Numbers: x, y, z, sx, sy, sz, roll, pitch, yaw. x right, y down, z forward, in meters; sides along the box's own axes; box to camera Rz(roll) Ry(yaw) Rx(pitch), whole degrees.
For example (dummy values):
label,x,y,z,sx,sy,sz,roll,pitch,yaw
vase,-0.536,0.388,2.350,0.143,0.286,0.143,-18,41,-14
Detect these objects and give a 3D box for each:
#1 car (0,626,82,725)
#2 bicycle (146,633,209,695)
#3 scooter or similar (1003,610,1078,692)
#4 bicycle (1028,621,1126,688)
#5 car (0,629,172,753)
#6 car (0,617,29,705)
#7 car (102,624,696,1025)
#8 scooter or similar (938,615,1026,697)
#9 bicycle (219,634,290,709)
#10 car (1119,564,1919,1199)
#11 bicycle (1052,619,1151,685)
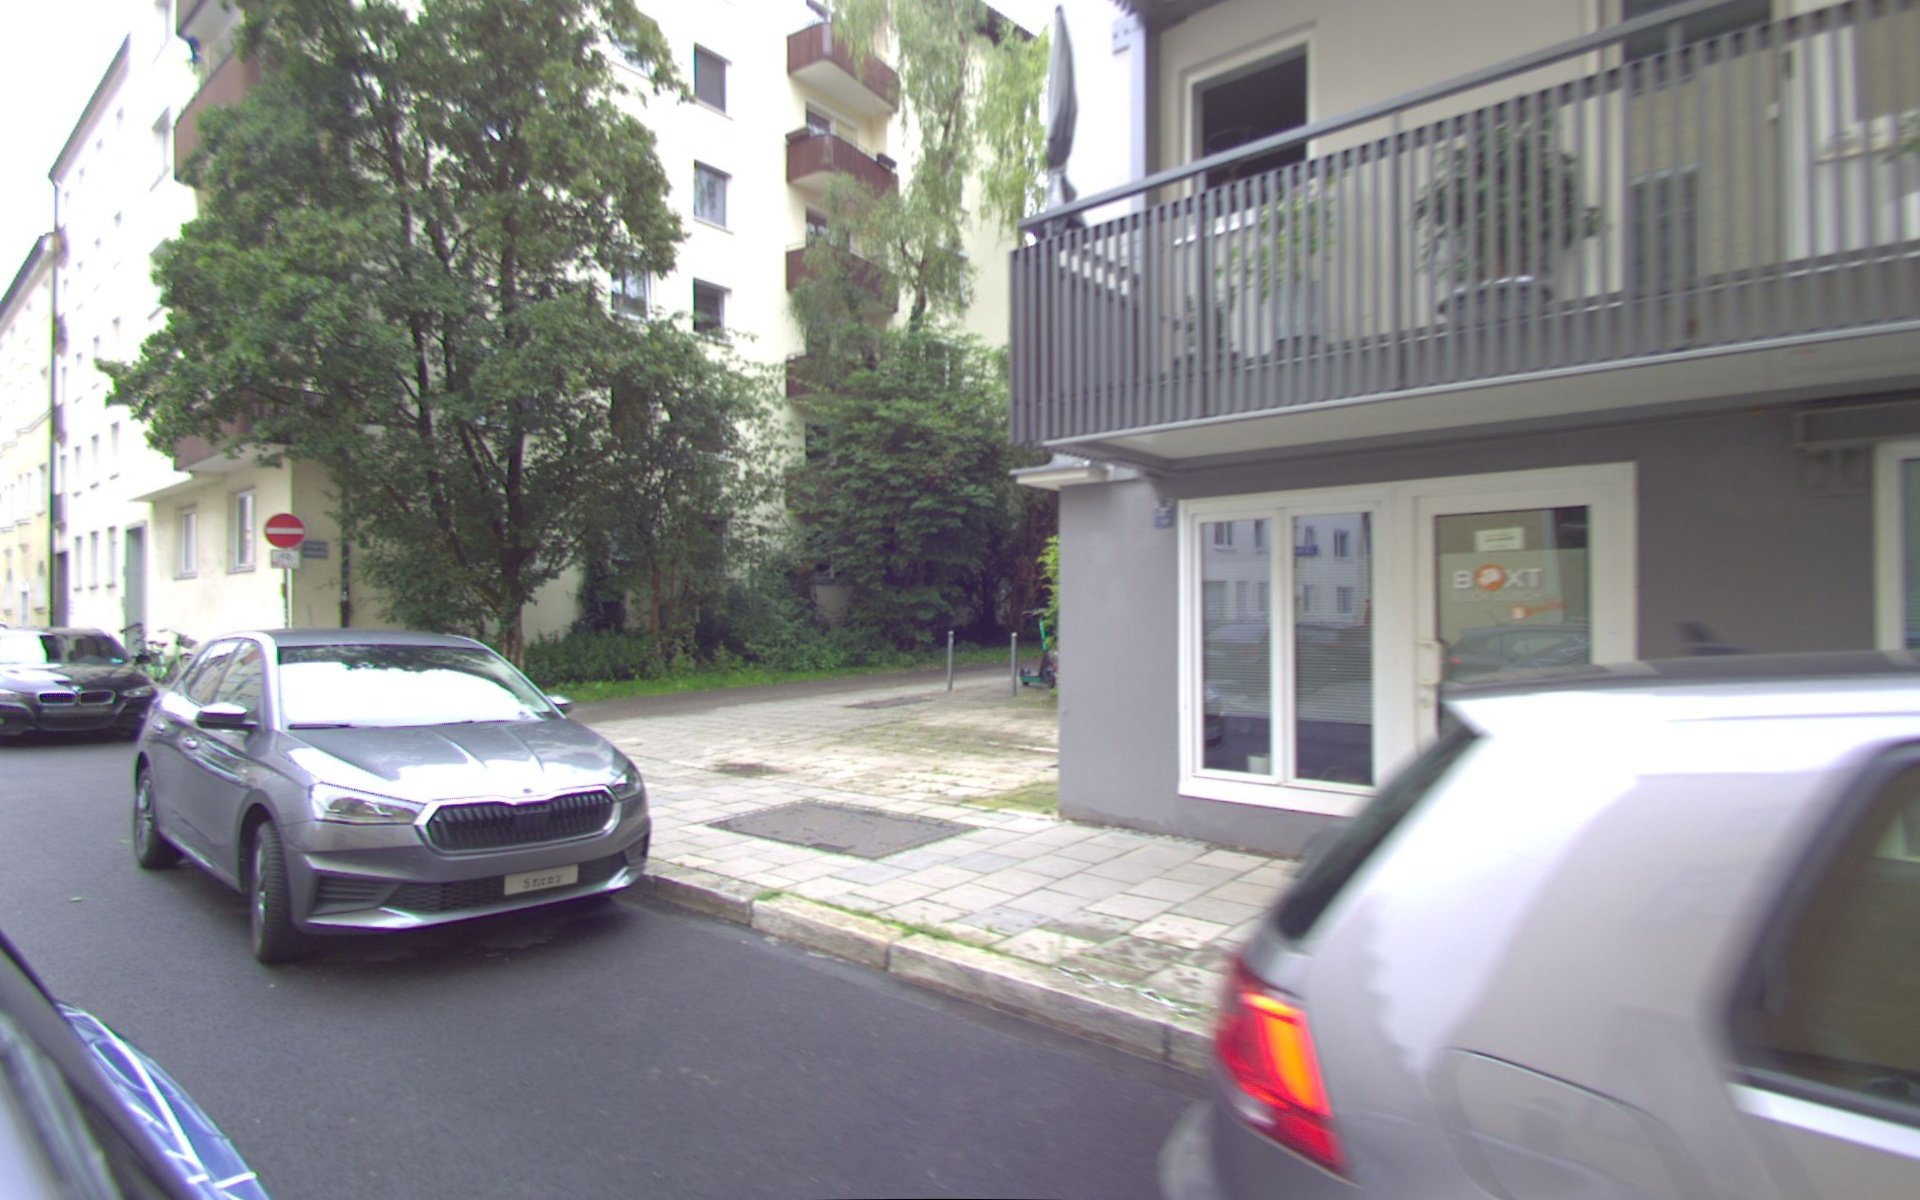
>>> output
label,x,y,z,sx,sy,sz,roll,pitch,yaw
car,-16.209,1.184,16.942,4.423,1.494,1.747,-1,-2,42
bicycle,-15.701,1.265,20.304,1.788,1.170,0.638,-1,-3,42
scooter or similar,1.255,0.799,16.088,0.339,1.254,1.550,1,-2,-30
bicycle,1.892,0.883,16.489,1.607,1.047,0.419,-2,-3,40
car,-12.197,1.109,13.532,4.381,1.419,1.836,-2,-3,42
car,-20.398,1.175,20.482,4.364,1.688,1.748,-1,-2,40
car,-3.321,0.883,5.645,3.941,1.453,1.675,-2,-3,42
scooter or similar,0.319,0.853,15.598,0.317,1.212,1.571,1,-3,-44
bicycle,-11.744,1.160,16.825,1.788,1.170,0.529,-1,-3,42
car,2.236,0.700,0.551,3.974,1.453,1.676,-1,-3,40
bicycle,2.348,0.860,16.876,1.607,1.047,0.509,-2,-3,40
